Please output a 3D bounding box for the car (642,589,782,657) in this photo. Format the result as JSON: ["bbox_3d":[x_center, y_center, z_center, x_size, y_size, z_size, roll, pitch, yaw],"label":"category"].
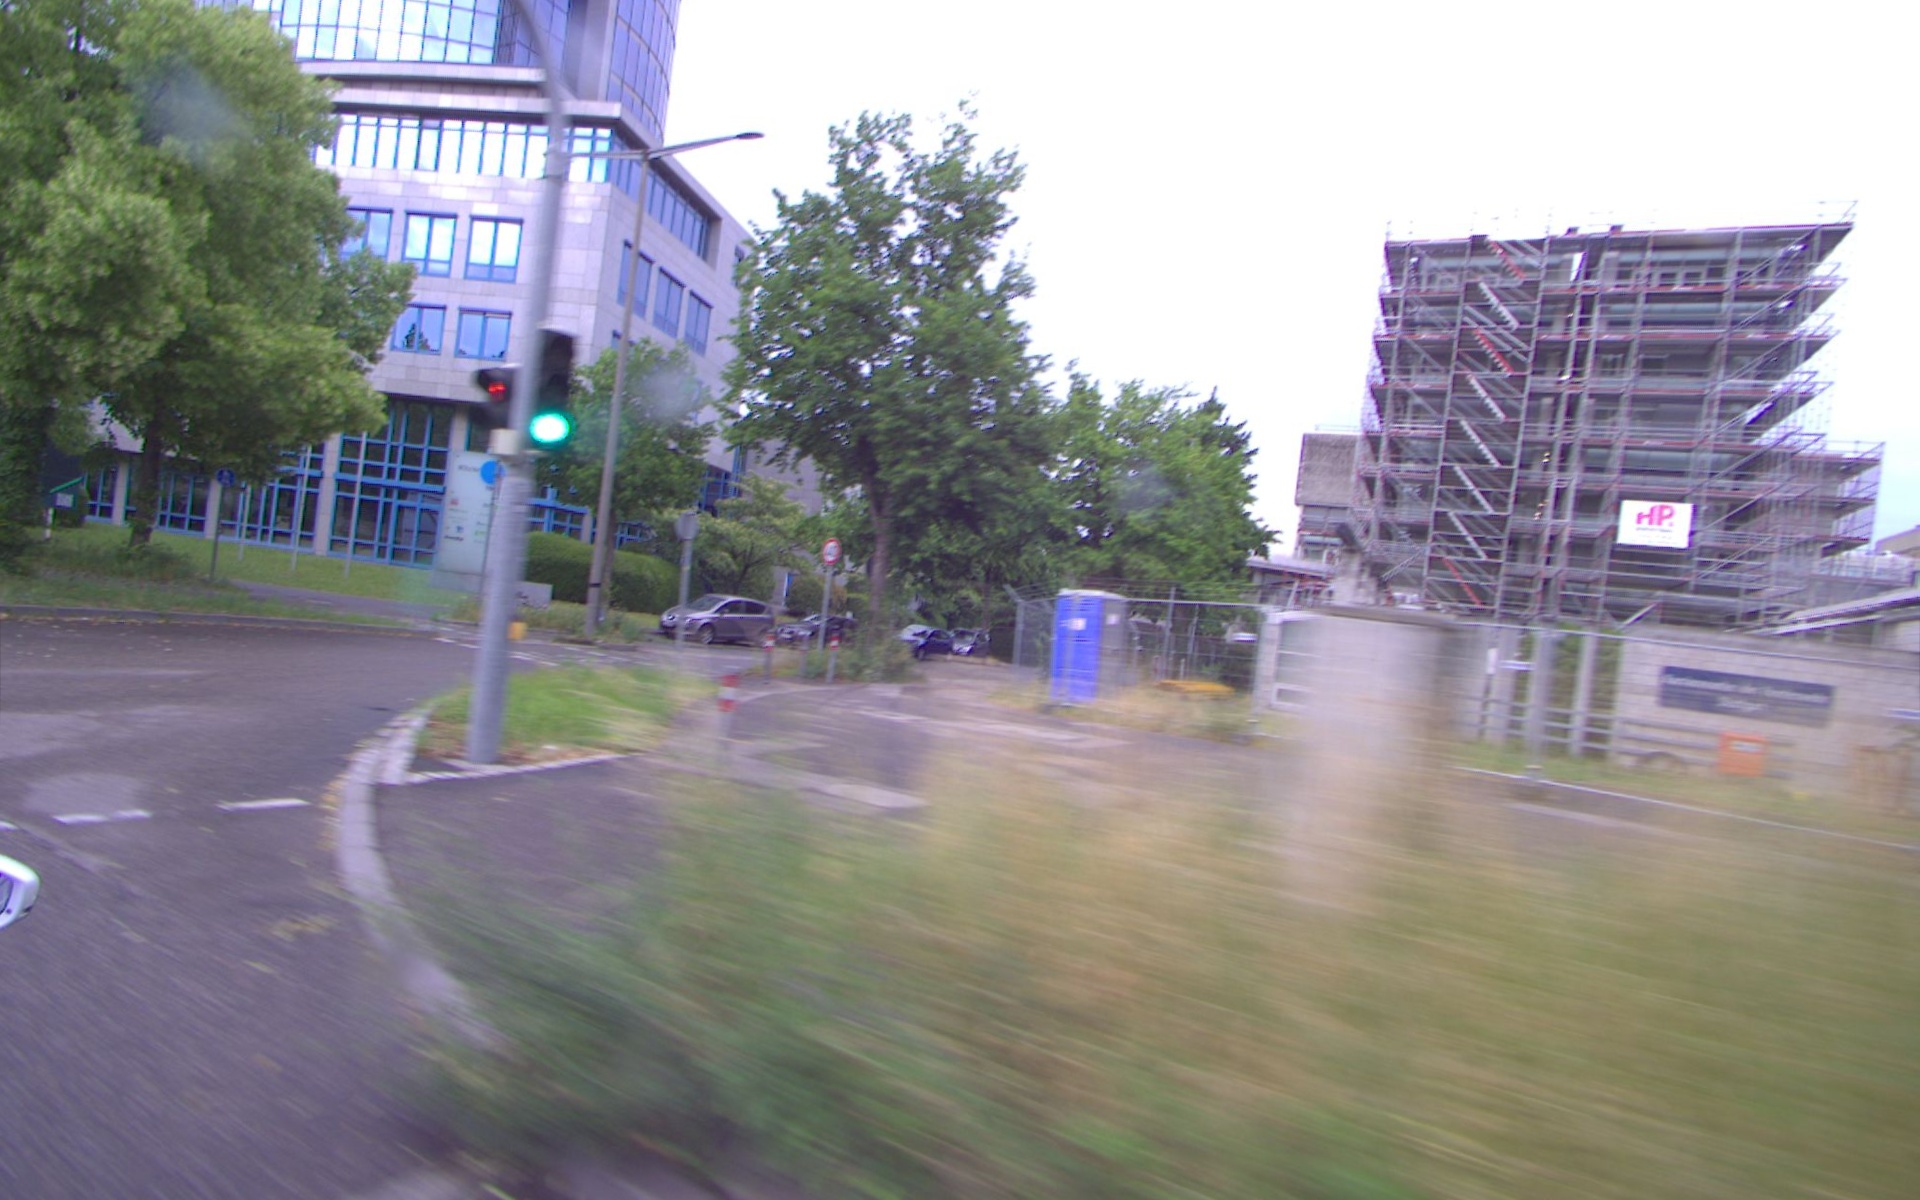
[{"bbox_3d":[-7.974,0.781,32.685,1.730,1.661,4.100,9,-1,36],"label":"car"}]

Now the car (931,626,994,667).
[{"bbox_3d":[0.186,2.274,48.755,1.725,1.640,4.113,9,-1,17],"label":"car"}]

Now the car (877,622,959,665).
[{"bbox_3d":[-1.787,1.943,44.060,1.726,1.450,4.109,9,-1,25],"label":"car"}]

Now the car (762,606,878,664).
[{"bbox_3d":[-5.092,1.320,37.069,1.730,1.597,4.100,9,-1,36],"label":"car"}]
